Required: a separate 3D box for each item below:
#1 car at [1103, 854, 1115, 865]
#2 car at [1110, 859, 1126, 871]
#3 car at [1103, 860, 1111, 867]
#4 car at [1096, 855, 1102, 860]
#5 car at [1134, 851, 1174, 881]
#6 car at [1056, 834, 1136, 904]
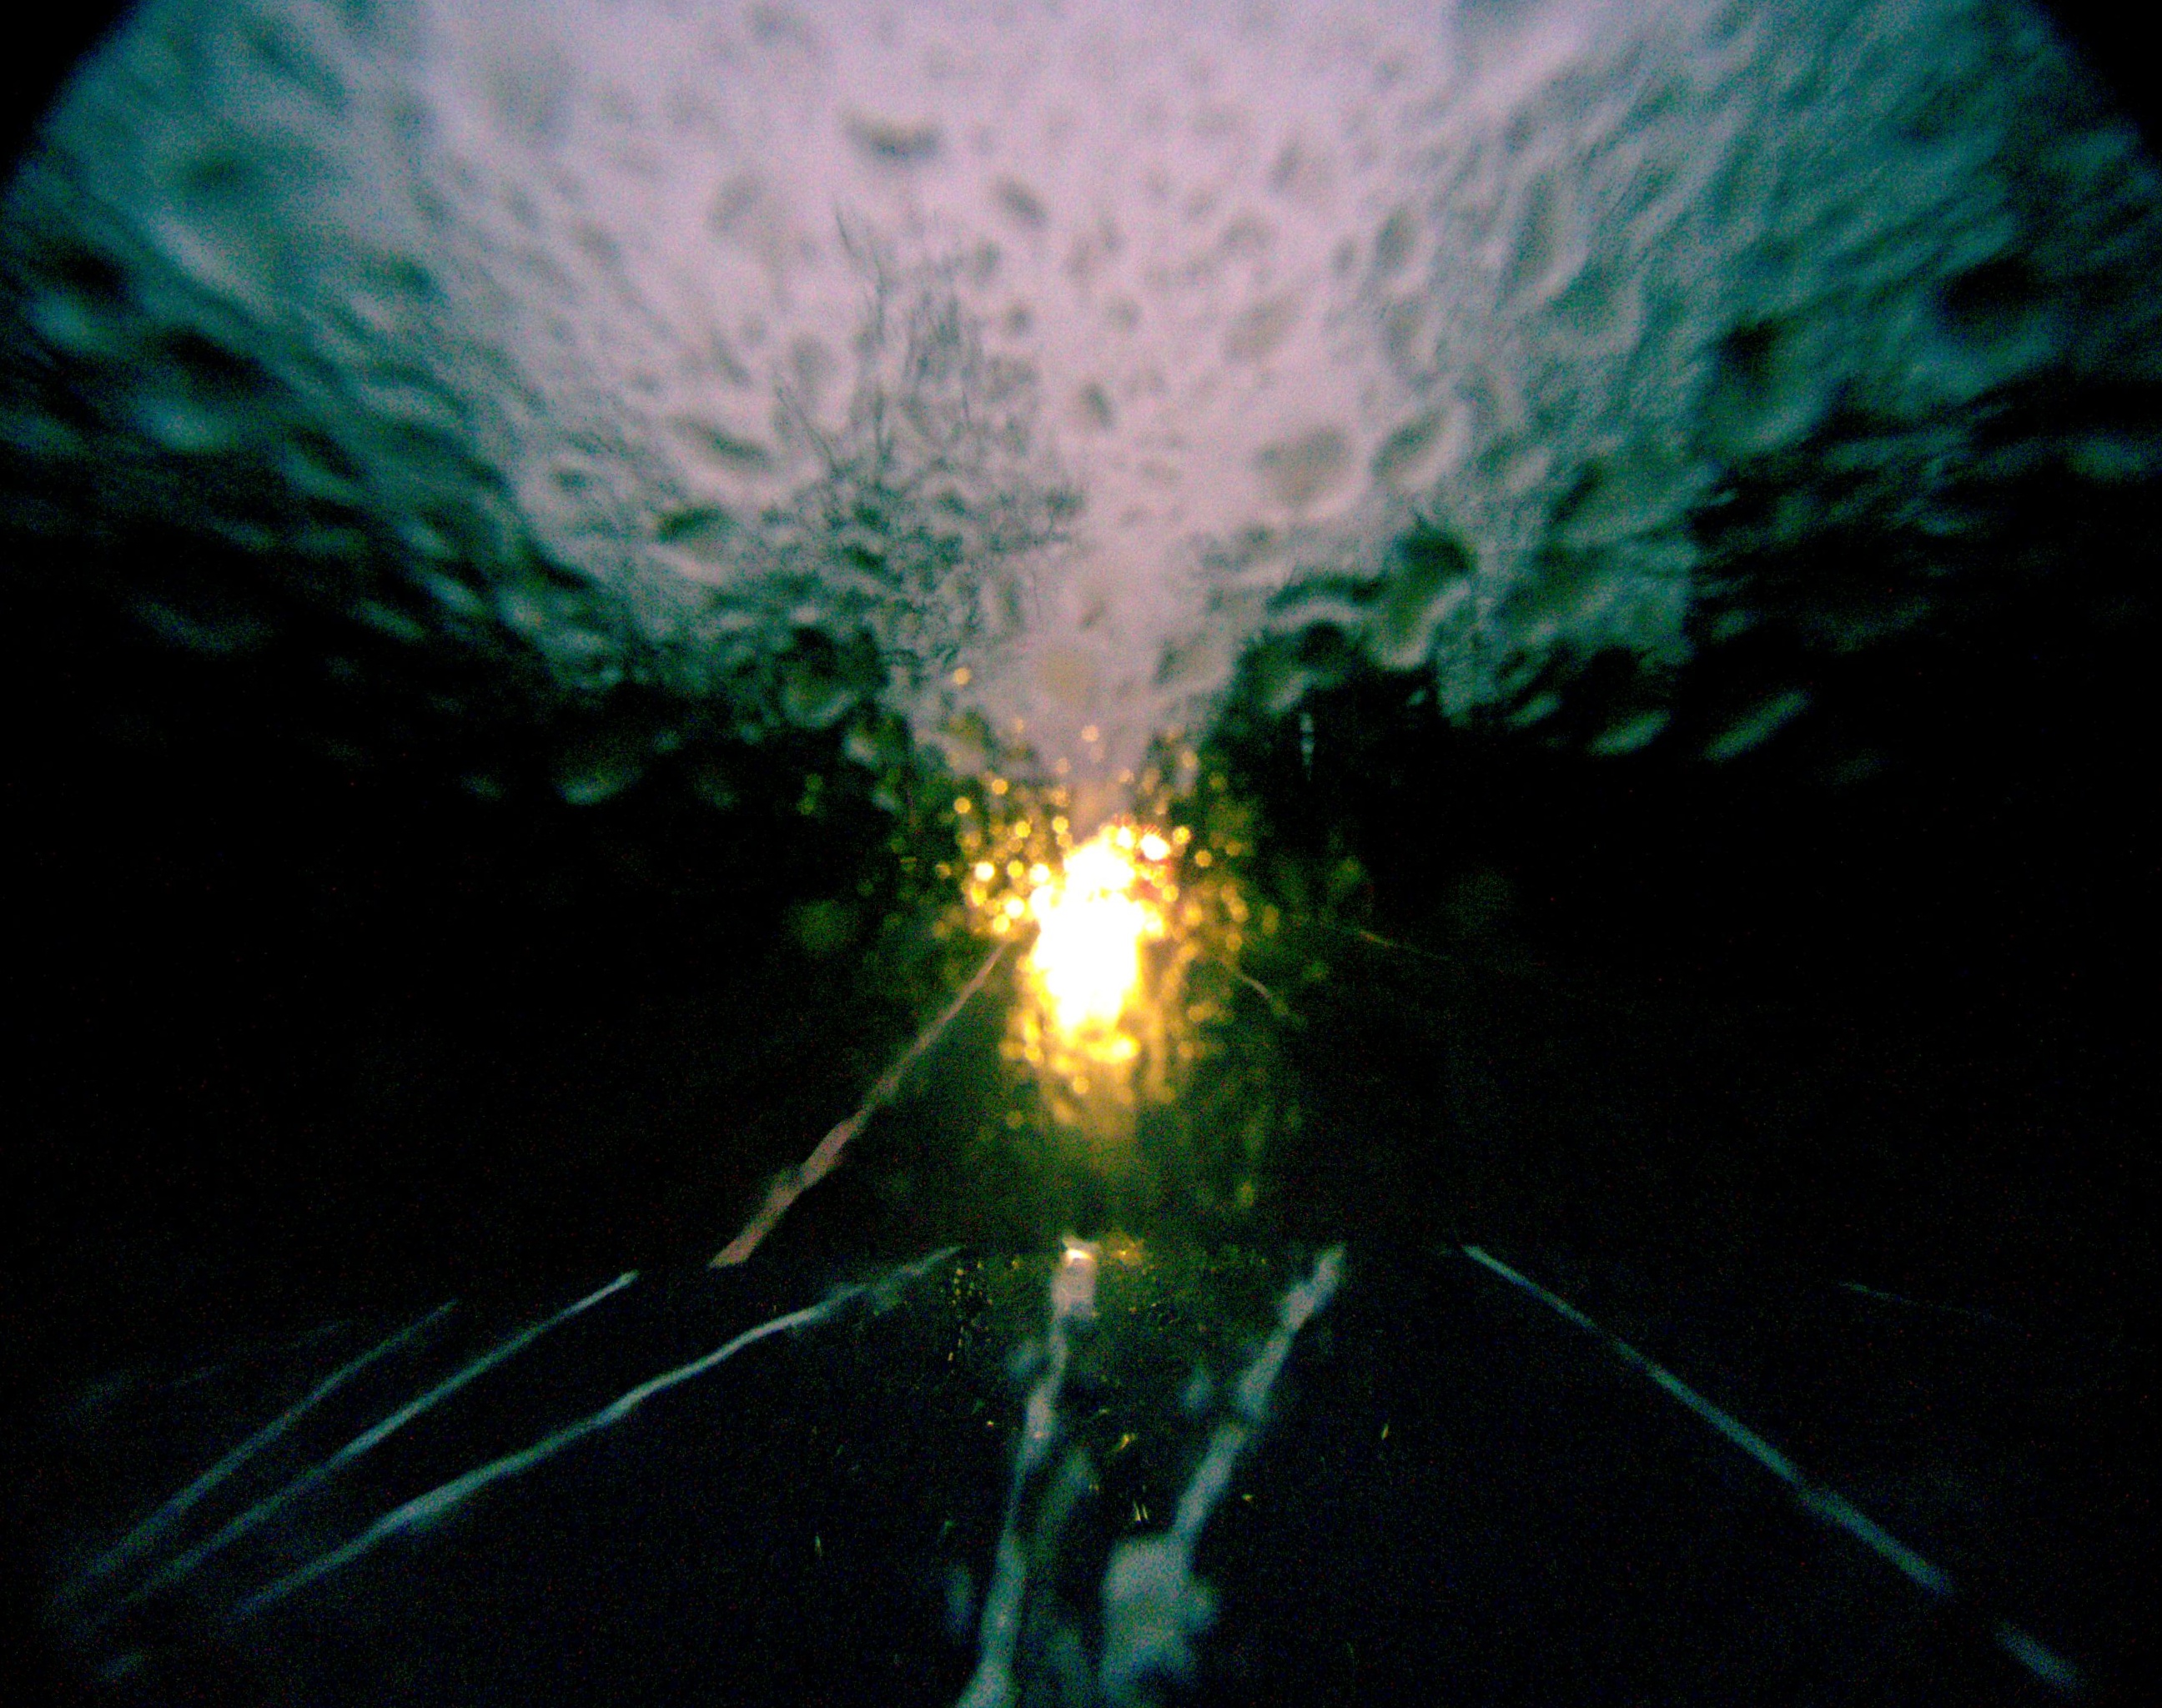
[{"bbox_3d":[4.469,0.861,122.169,1.922,1.599,5.016,-1,1,2],"label":"car"},{"bbox_3d":[4.704,1.390,96.347,1.873,1.414,4.387,-1,0,0],"label":"car"},{"bbox_3d":[5.476,1.941,160.615,1.695,1.411,4.000,0,-1,0],"label":"car"},{"bbox_3d":[6.022,1.154,252.832,1.979,1.559,4.928,0,0,3],"label":"car"},{"bbox_3d":[4.169,0.661,43.937,2.080,1.607,4.152,-1,1,2],"label":"car"},{"bbox_3d":[0.564,0.490,28.118,2.542,2.213,6.169,-2,0,1],"label":"car"}]
